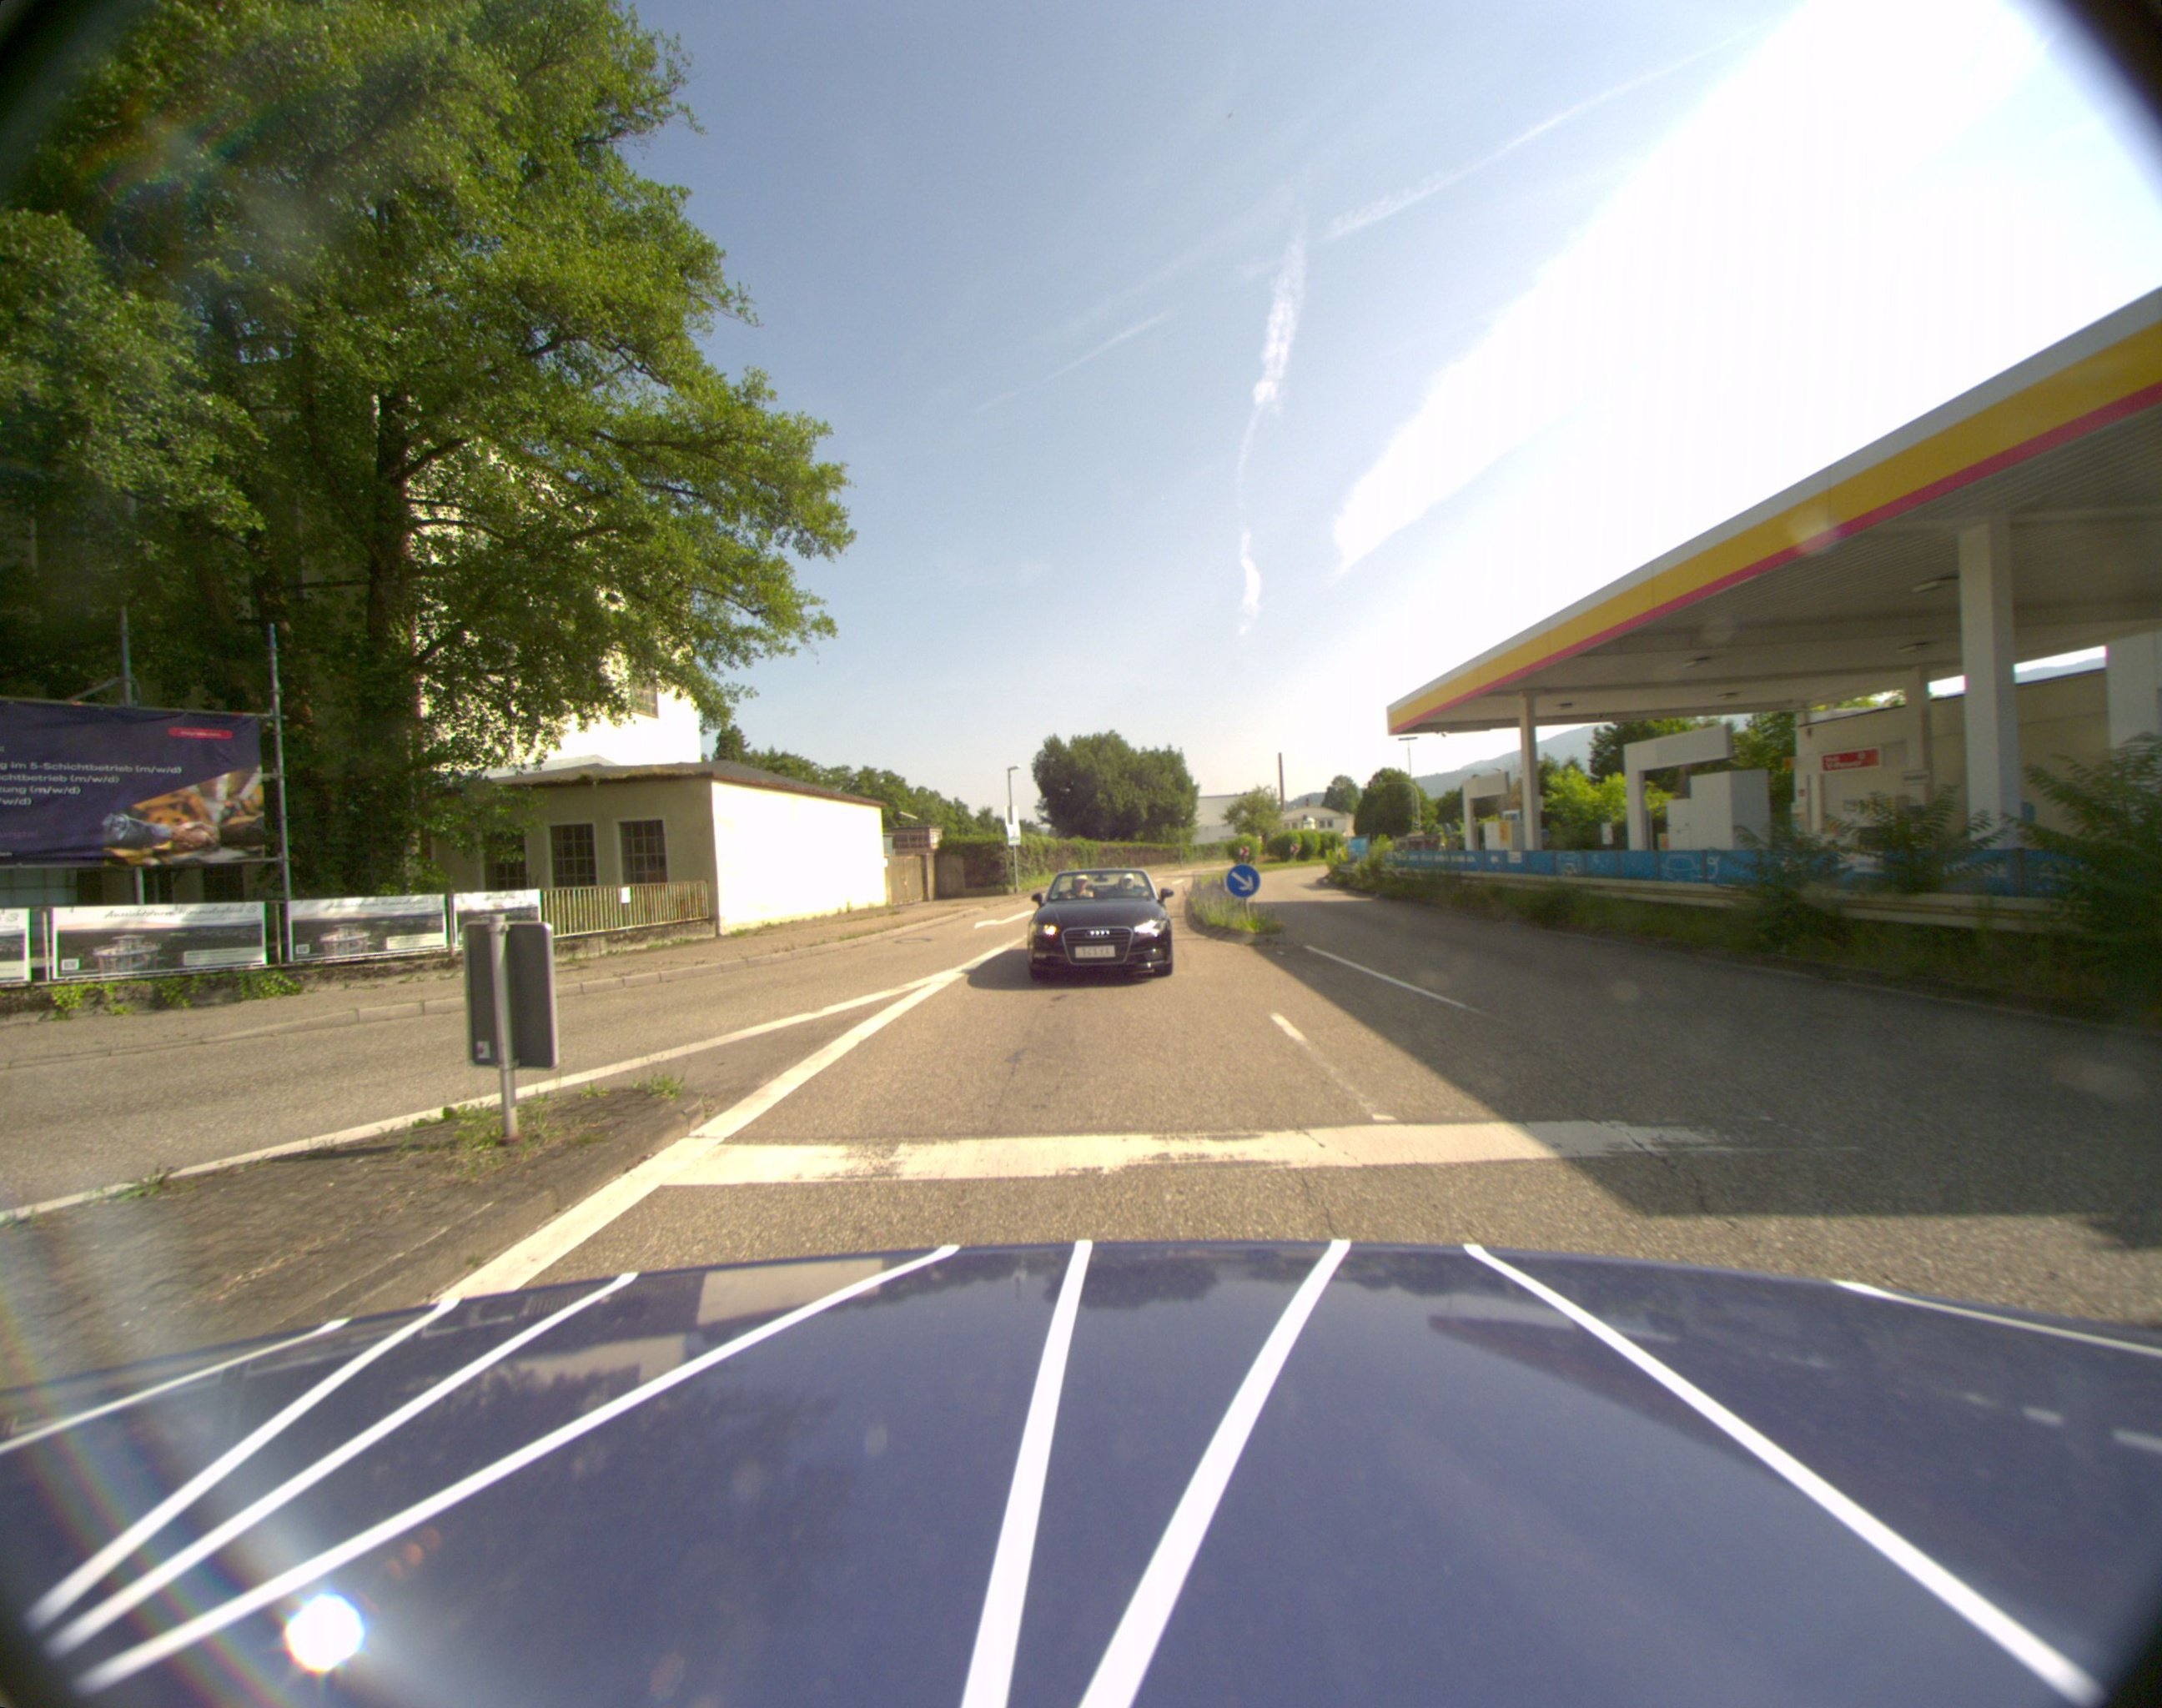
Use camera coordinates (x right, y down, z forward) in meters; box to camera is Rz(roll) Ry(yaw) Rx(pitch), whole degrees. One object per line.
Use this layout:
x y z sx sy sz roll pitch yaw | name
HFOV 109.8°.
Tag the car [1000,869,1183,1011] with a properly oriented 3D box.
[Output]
0.338 0.949 10.023 1.868 1.323 4.234 -2 0 6 | car
